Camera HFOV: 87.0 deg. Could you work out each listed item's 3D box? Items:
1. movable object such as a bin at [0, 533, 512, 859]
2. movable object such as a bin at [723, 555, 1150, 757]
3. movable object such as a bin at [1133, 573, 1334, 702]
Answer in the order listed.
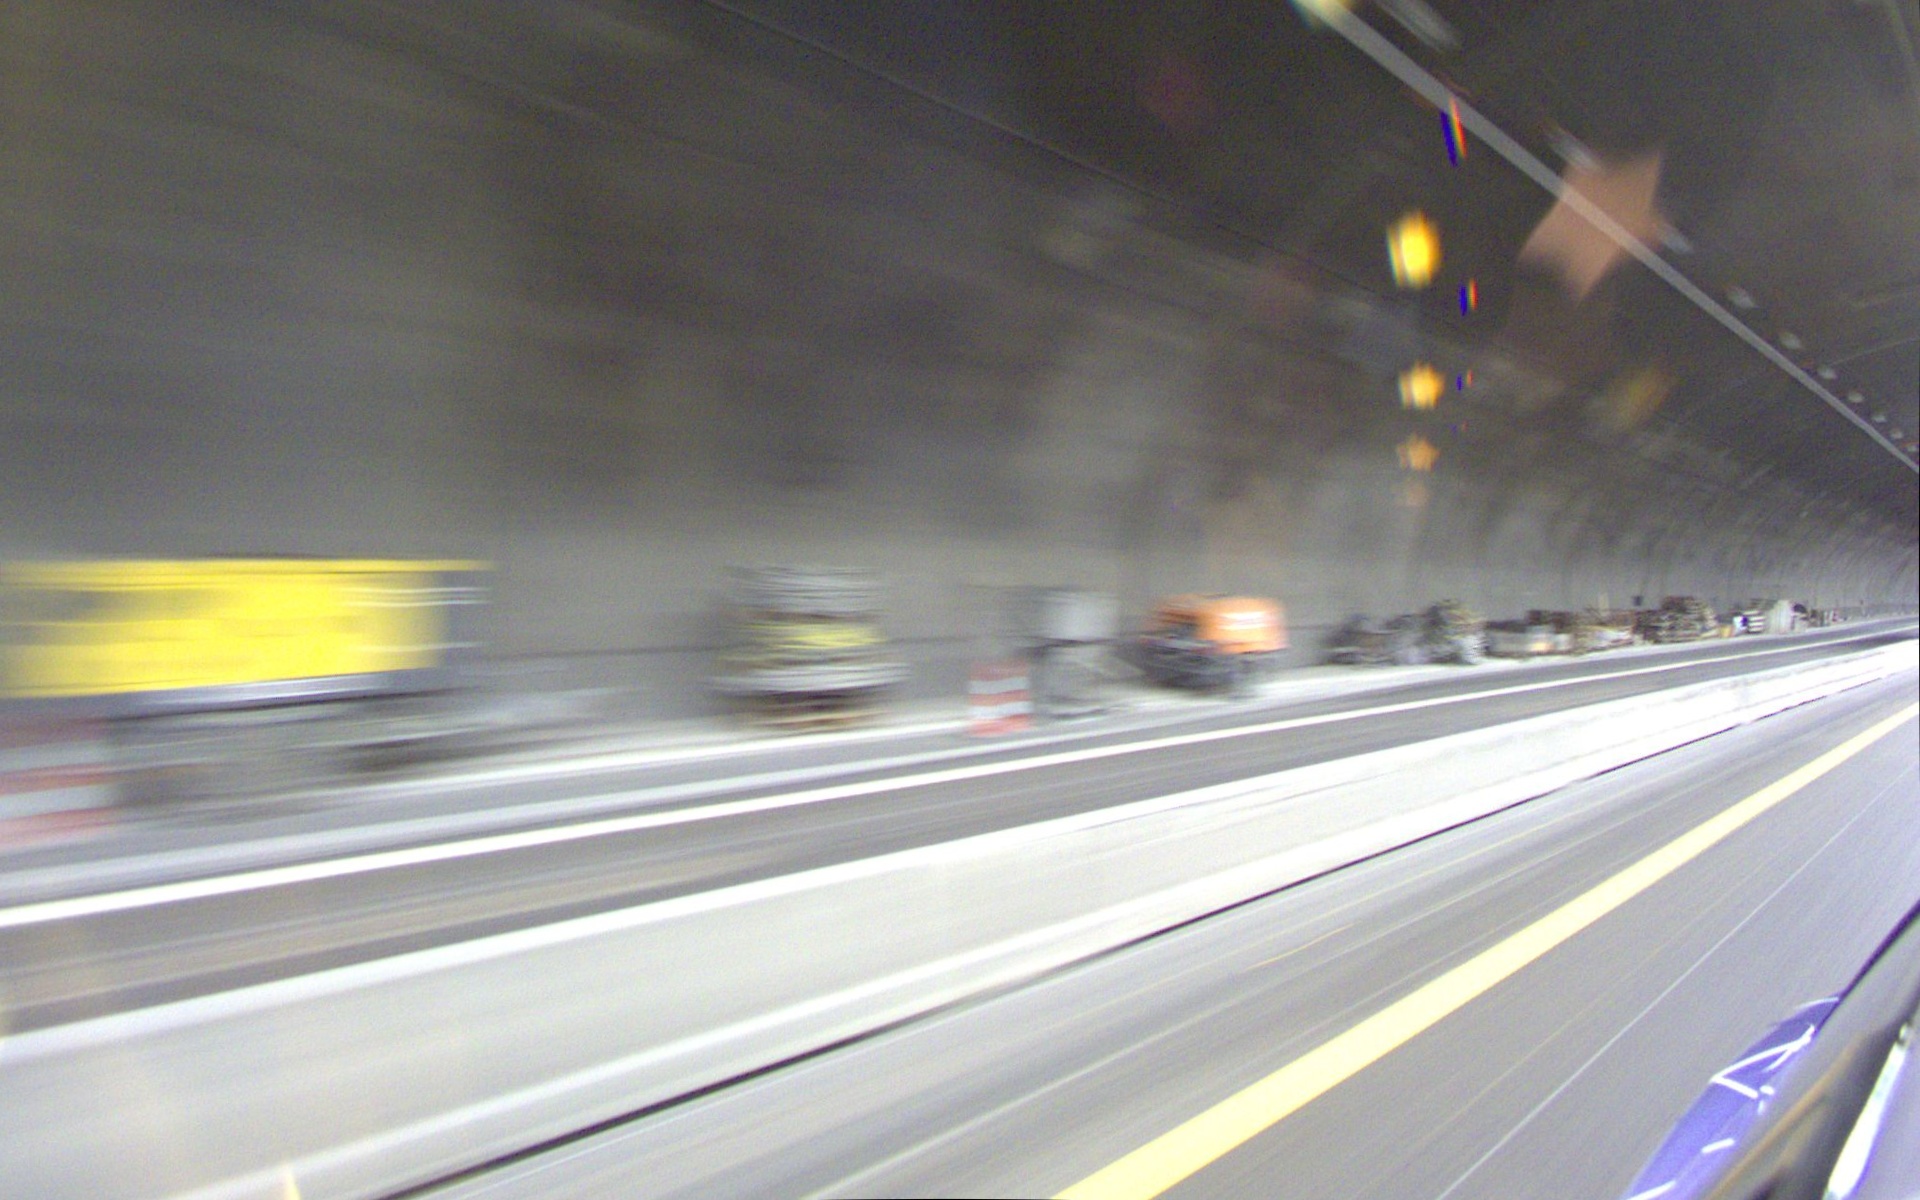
[{"bbox_3d":[-4.774,0.496,6.690,3.002,1.730,1.558,-1,0,-41],"label":"movable object such as a bin"},{"bbox_3d":[-0.102,0.463,10.970,4.423,1.695,1.864,0,4,-41],"label":"movable object such as a bin"},{"bbox_3d":[3.999,0.478,14.621,3.002,1.613,1.306,0,3,-41],"label":"movable object such as a bin"}]
